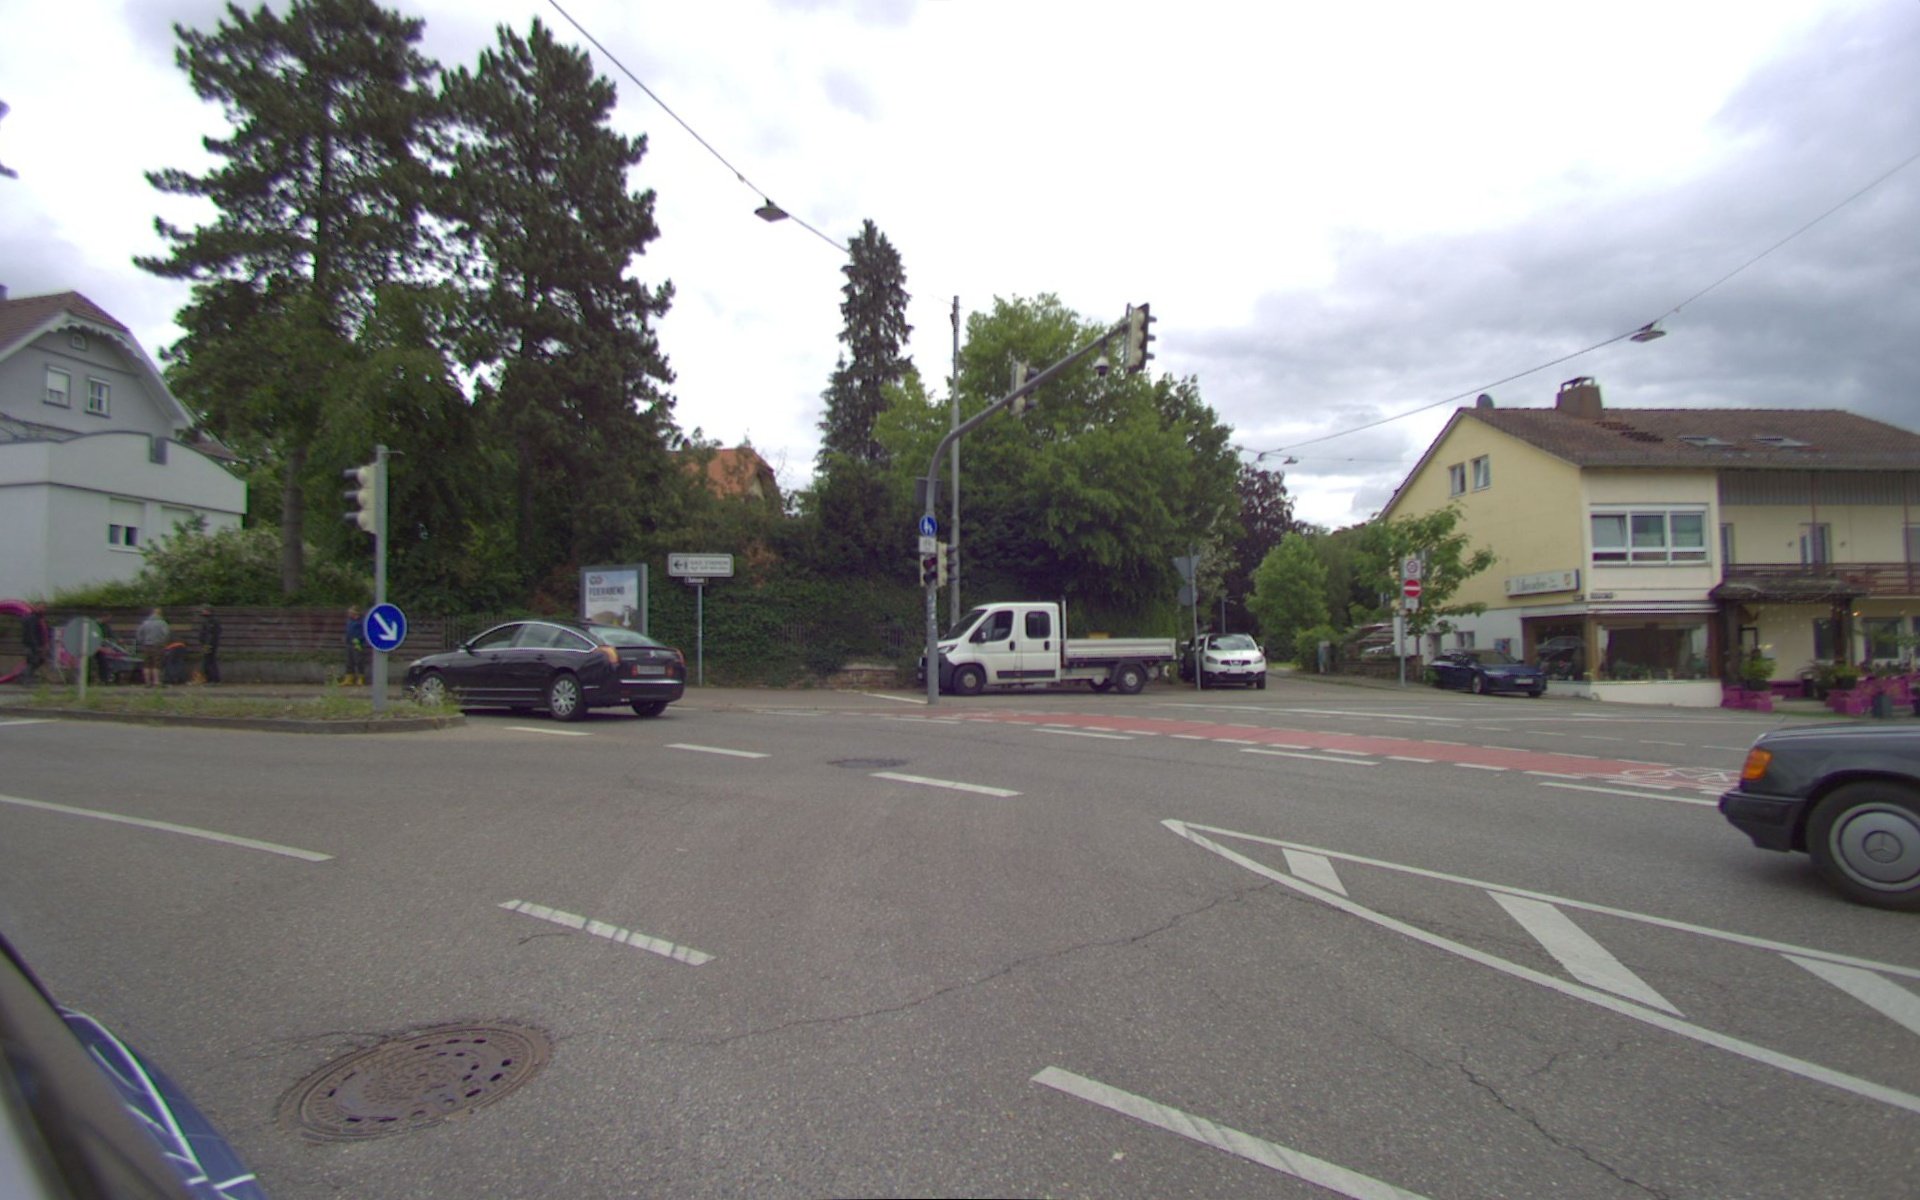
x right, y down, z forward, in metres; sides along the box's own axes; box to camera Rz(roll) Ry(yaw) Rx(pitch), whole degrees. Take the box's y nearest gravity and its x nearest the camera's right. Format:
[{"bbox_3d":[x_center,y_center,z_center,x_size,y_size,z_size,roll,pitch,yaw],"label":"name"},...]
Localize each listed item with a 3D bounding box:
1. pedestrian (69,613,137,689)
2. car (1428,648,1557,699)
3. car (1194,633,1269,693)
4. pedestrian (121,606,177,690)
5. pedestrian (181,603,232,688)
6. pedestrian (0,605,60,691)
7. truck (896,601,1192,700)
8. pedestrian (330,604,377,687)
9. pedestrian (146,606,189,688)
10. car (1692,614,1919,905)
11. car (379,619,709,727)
[{"bbox_3d":[-19.431,1.153,22.963,0.741,1.666,0.879,0,-3,3],"label":"pedestrian"},{"bbox_3d":[16.464,2.232,31.551,1.854,1.460,3.999,1,-2,0],"label":"car"},{"bbox_3d":[7.950,1.830,29.934,1.980,1.625,3.983,0,-3,13],"label":"car"},{"bbox_3d":[-17.667,1.038,22.051,0.658,1.802,0.612,0,-3,3],"label":"pedestrian"},{"bbox_3d":[-16.827,1.014,22.611,0.604,1.849,0.603,0,-3,1],"label":"pedestrian"},{"bbox_3d":[-20.248,1.030,21.899,0.679,1.828,0.879,0,-3,3],"label":"pedestrian"},{"bbox_3d":[1.974,1.221,24.417,6.605,2.205,2.536,1,-2,-14],"label":"truck"},{"bbox_3d":[-13.840,1.044,23.109,0.604,1.849,0.678,1,-3,1],"label":"pedestrian"},{"bbox_3d":[-18.075,1.067,23.091,0.498,1.827,0.509,0,-3,3],"label":"pedestrian"},{"bbox_3d":[6.056,0.731,3.924,1.821,1.338,4.880,2,-2,-35],"label":"car"},{"bbox_3d":[-6.437,1.034,15.522,5.035,1.433,1.980,-1,-2,29],"label":"car"}]
